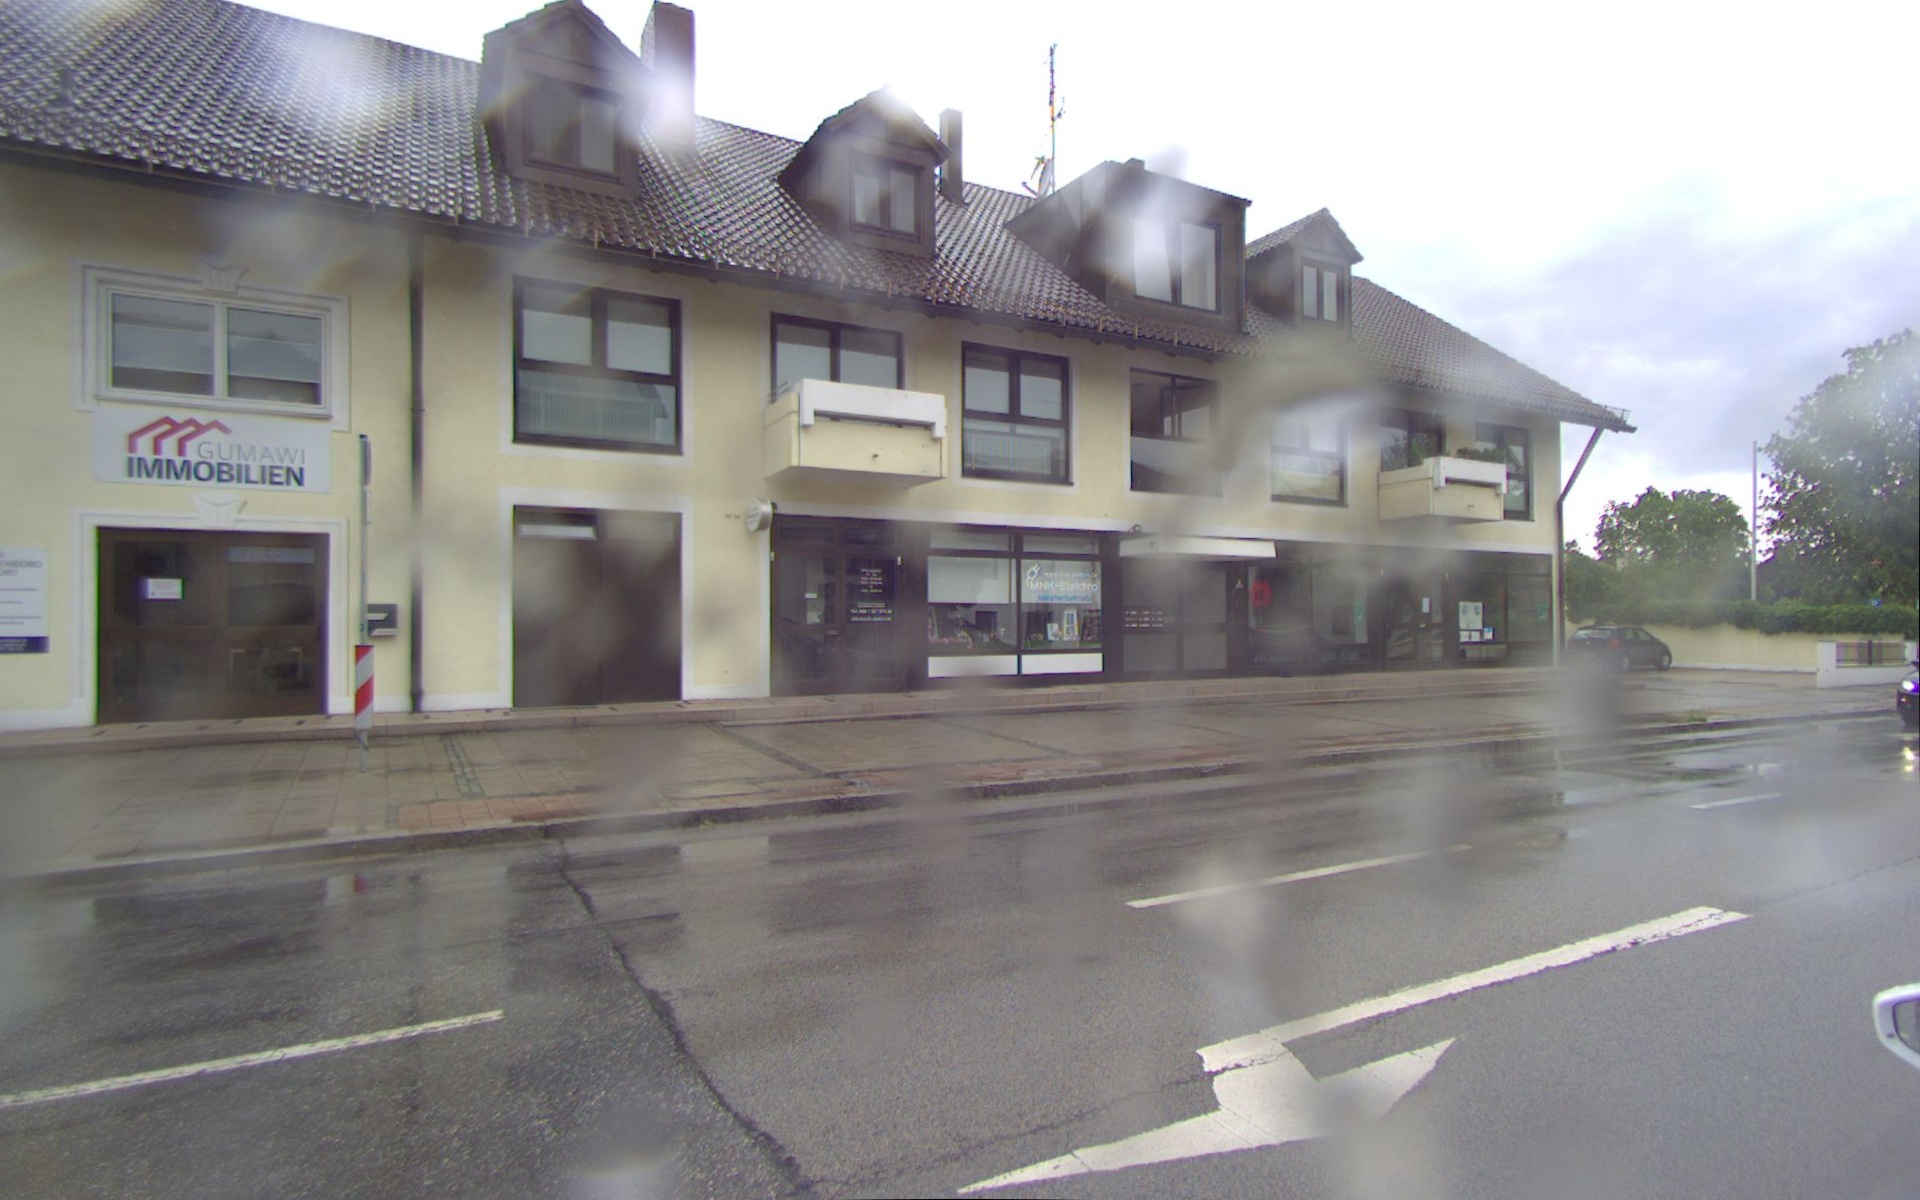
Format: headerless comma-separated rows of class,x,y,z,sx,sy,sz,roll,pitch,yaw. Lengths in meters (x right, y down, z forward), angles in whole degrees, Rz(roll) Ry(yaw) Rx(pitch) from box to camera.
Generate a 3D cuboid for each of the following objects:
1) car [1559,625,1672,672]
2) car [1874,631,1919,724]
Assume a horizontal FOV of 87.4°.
car,20.651,1.514,31.637,3.467,1.398,1.599,1,-3,-30
car,16.662,1.207,16.039,3.838,1.426,1.987,1,-3,-30
